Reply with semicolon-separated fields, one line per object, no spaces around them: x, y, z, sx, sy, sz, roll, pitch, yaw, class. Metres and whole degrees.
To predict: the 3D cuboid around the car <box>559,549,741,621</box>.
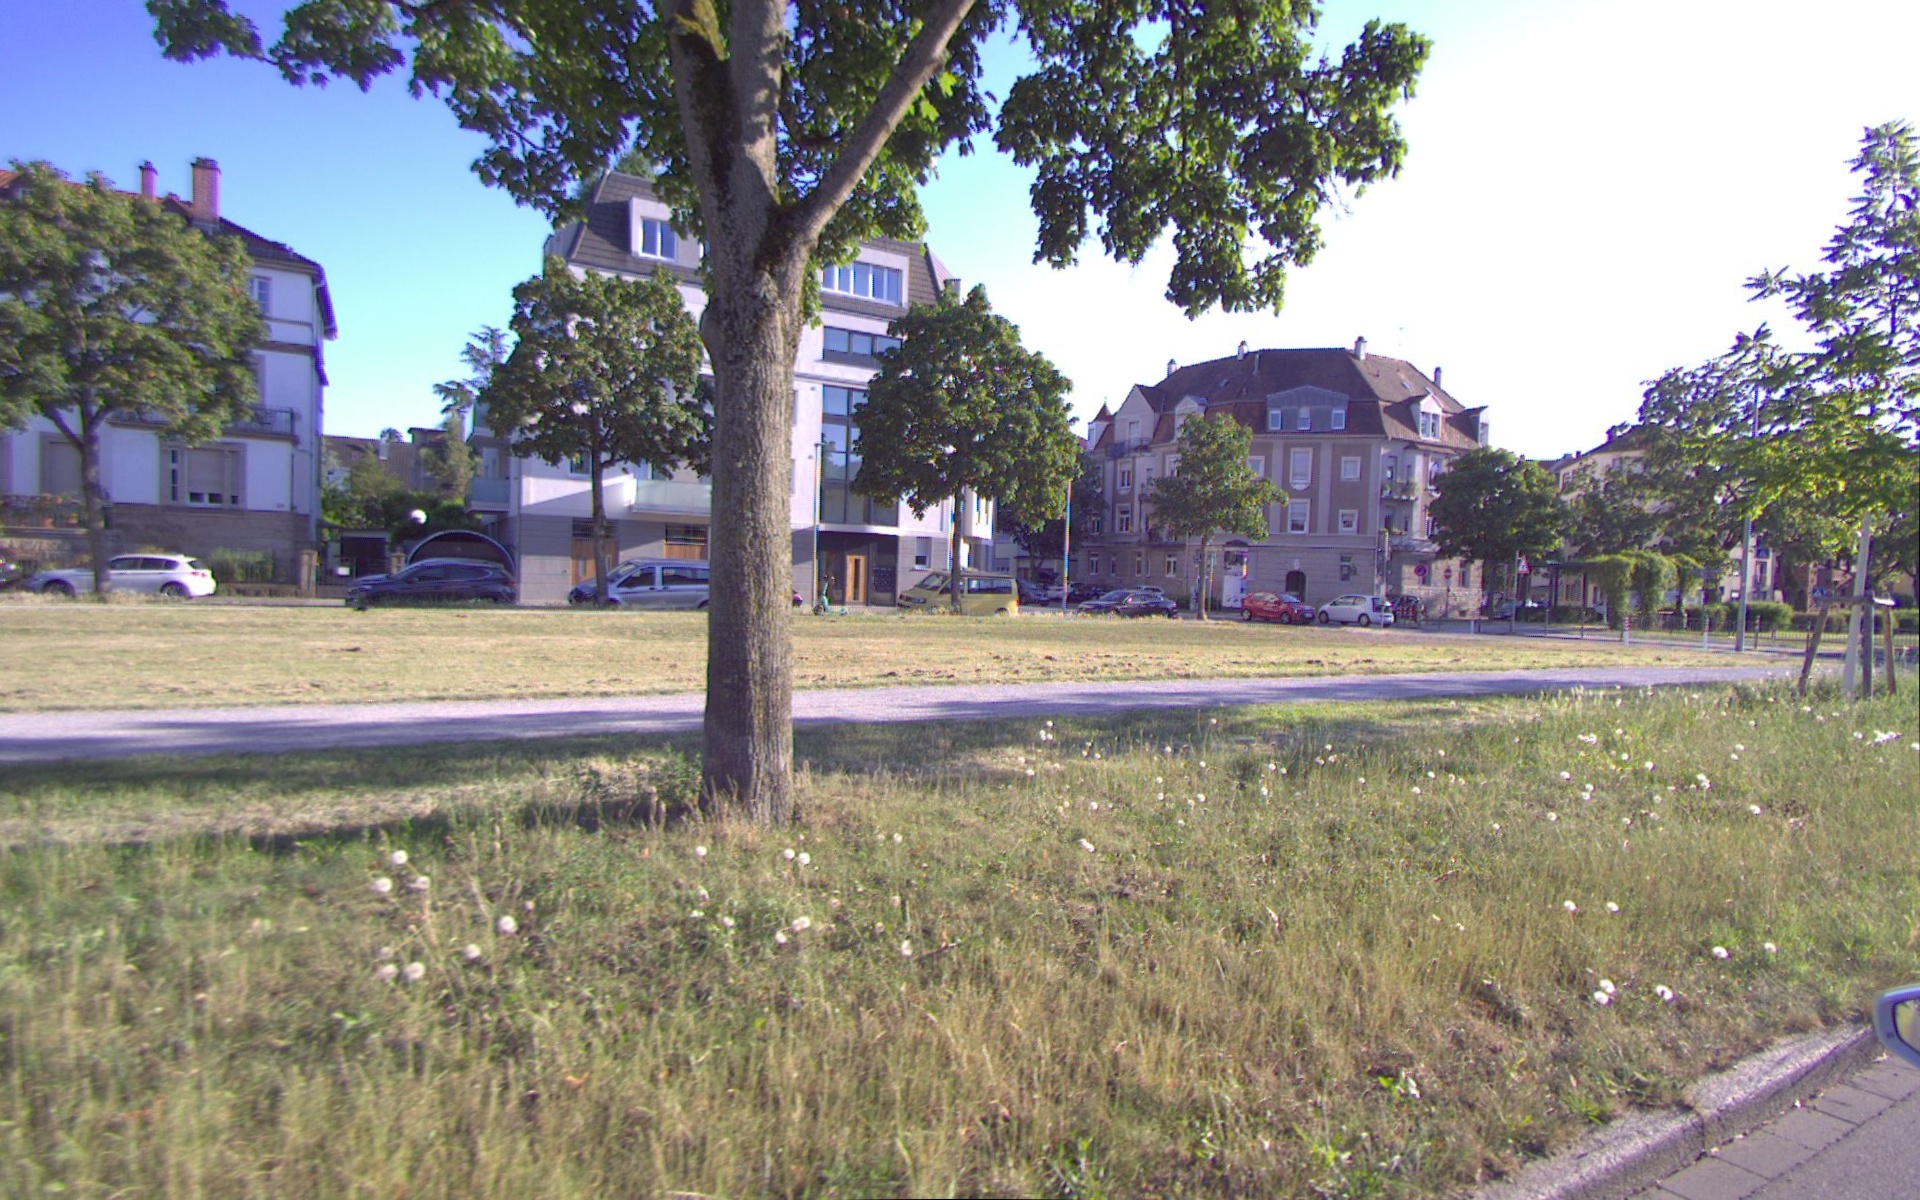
-10.042;-0.404;32.741;5.316;2.027;2.007;2;-3;-34;car

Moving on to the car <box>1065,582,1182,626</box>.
6.998;0.209;42.926;4.769;1.658;1.975;2;-3;-29;car

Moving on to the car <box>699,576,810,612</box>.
-8.313;-0.230;40.700;4.011;1.295;1.986;2;1;-28;car

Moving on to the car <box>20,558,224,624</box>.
-25.243;-0.216;30.486;4.406;1.767;1.813;2;-2;-30;car

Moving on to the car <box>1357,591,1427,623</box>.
26.004;0.455;60.448;4.242;1.729;1.636;2;-2;-29;car

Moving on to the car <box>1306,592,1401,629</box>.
18.589;0.546;47.624;1.976;1.617;3.877;2;-3;-29;car

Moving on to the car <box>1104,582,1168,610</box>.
11.694;-0.237;66.551;4.027;1.658;1.689;2;-2;-29;car

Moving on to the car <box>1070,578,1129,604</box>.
9.813;-0.625;70.804;3.921;1.739;1.591;1;2;-29;car

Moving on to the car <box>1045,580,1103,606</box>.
8.274;-0.507;72.829;4.029;1.696;1.689;2;-3;-30;car

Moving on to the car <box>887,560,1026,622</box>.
-0.101;-0.286;38.400;4.993;2.084;1.984;2;-2;-30;car

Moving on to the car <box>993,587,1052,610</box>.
3.786;-0.107;61.363;1.674;1.235;3.968;1;1;-30;car

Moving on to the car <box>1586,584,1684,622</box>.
53.399;0.227;79.633;6.202;2.757;1.999;3;2;30;car

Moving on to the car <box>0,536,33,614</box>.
-29.495;-0.771;28.071;4.795;2.158;2.228;2;-2;-29;car

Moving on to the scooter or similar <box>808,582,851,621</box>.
-4.033;0.050;31.102;1.285;1.142;0.389;1;3;-38;scooter or similar

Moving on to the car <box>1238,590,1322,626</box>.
15.060;0.347;47.380;1.665;1.501;3.566;-1;3;-31;car

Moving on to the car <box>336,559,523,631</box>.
-15.359;-0.076;29.222;4.637;1.852;1.919;2;-3;-30;car
